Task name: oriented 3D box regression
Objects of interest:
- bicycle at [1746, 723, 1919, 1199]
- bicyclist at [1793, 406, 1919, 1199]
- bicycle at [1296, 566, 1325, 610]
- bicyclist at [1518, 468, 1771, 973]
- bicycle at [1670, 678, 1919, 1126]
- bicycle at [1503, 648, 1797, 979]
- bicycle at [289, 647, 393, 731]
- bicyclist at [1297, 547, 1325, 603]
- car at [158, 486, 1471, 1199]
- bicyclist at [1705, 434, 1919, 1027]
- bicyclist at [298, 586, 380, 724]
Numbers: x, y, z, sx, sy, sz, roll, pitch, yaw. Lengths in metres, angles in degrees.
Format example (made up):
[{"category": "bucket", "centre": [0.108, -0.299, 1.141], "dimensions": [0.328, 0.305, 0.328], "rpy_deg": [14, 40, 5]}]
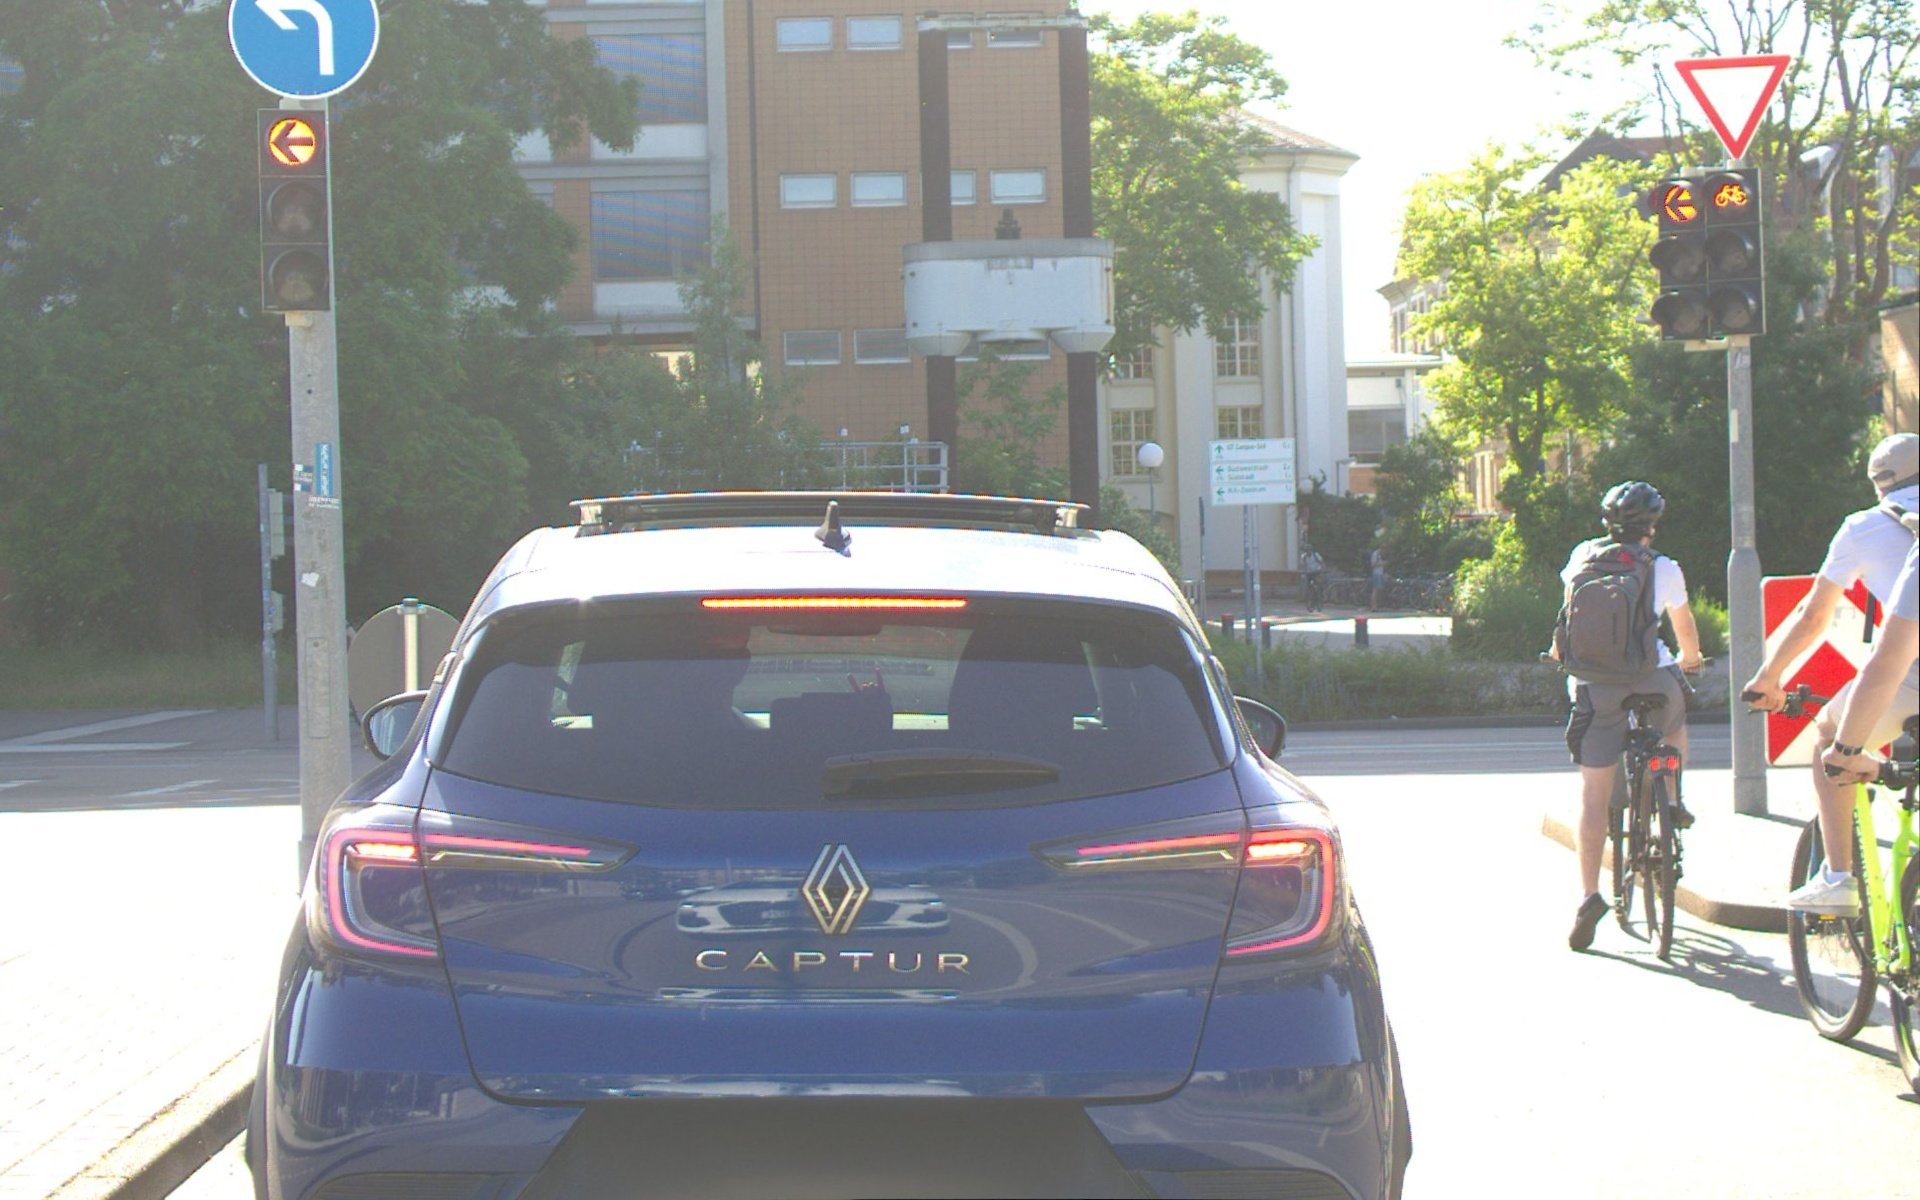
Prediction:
[{"category": "bicycle", "centre": [2.229, 0.848, 7.234], "dimensions": [0.689, 1.085, 1.922], "rpy_deg": [0, 1, -1]}, {"category": "bicyclist", "centre": [2.228, 0.505, 7.191], "dimensions": [0.683, 1.785, 1.142], "rpy_deg": [0, 1, -1]}, {"category": "bicycle", "centre": [9.463, -0.326, 92.866], "dimensions": [0.694, 1.136, 2.441], "rpy_deg": [-1, 1, 4]}, {"category": "bicyclist", "centre": [2.514, 0.418, 12.730], "dimensions": [0.699, 1.785, 1.142], "rpy_deg": [0, 1, -1]}, {"category": "bicycle", "centre": [2.582, 0.801, 9.825], "dimensions": [0.689, 1.085, 1.922], "rpy_deg": [0, 1, -1]}, {"category": "bicycle", "centre": [2.525, 0.747, 12.784], "dimensions": [0.689, 1.085, 1.922], "rpy_deg": [0, 1, -1]}, {"category": "bicycle", "centre": [-7.891, 1.123, 43.908], "dimensions": [0.755, 0.981, 2.093], "rpy_deg": [-1, 1, 5]}, {"category": "bicyclist", "centre": [9.408, -0.670, 92.132], "dimensions": [0.694, 1.476, 0.717], "rpy_deg": [-1, 1, 4]}, {"category": "car", "centre": [-0.276, 0.612, 6.651], "dimensions": [1.788, 1.580, 3.915], "rpy_deg": [0, 1, -2]}, {"category": "bicyclist", "centre": [2.588, 0.344, 9.781], "dimensions": [0.678, 1.589, 1.142], "rpy_deg": [0, 1, -1]}, {"category": "bicyclist", "centre": [-7.910, 0.691, 43.798], "dimensions": [0.755, 1.710, 0.998], "rpy_deg": [-1, 1, 5]}]
